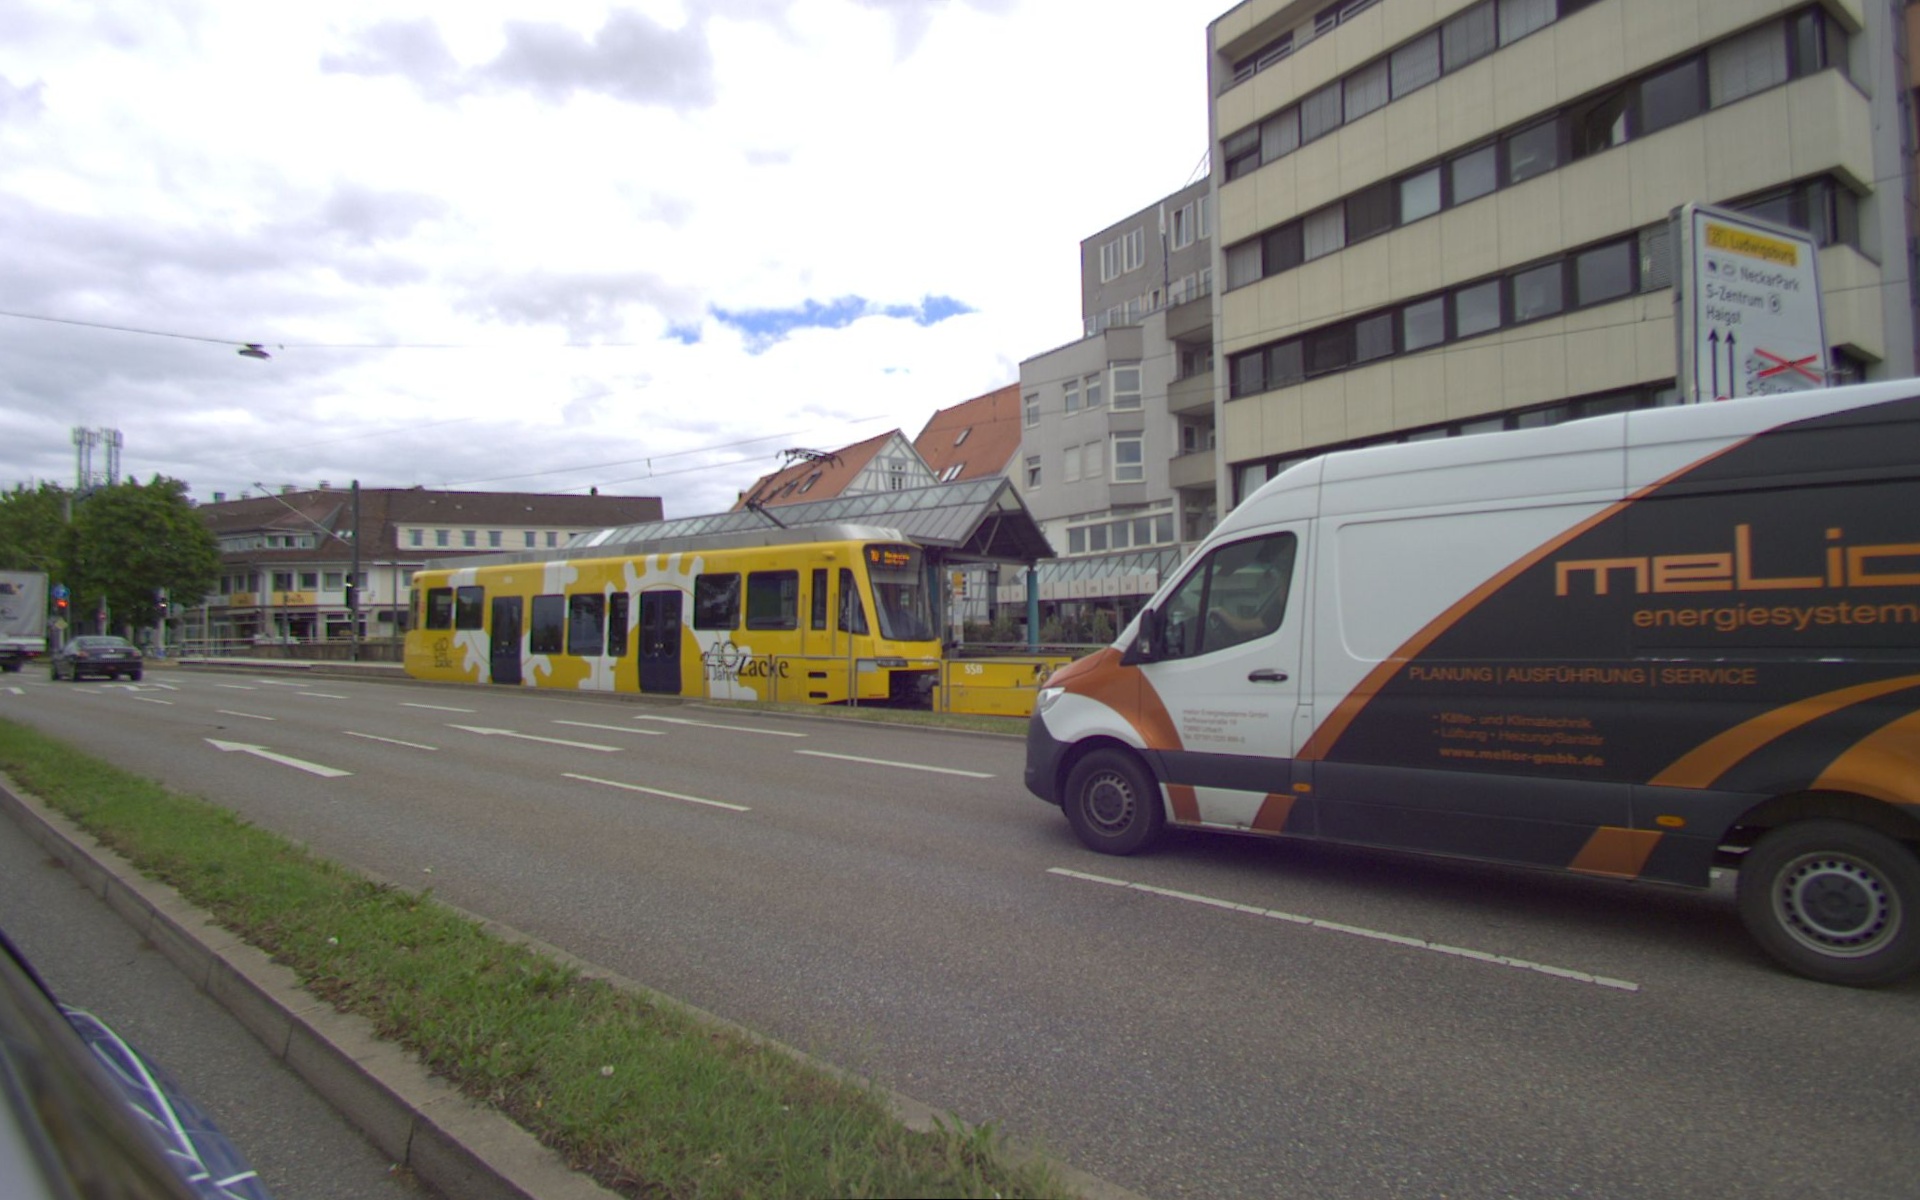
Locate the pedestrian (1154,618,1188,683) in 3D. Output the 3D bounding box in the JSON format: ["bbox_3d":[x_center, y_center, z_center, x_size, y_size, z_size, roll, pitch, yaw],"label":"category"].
[{"bbox_3d":[5.703,1.356,27.356,0.628,1.713,0.684,-2,-2,39],"label":"pedestrian"}]

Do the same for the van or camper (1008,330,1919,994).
[{"bbox_3d":[3.276,0.308,5.775,6.114,2.618,1.972,-2,-4,42],"label":"van or camper"}]

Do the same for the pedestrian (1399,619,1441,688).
[{"bbox_3d":[11.639,1.344,25.624,0.610,1.713,0.743,1,-2,-38],"label":"pedestrian"}]

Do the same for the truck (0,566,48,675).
[{"bbox_3d":[-39.109,0.880,39.953,9.148,3.988,2.911,-2,-2,37],"label":"truck"}]

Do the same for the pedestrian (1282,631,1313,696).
[{"bbox_3d":[9.010,1.675,27.010,0.628,1.713,0.543,-2,-2,39],"label":"pedestrian"}]

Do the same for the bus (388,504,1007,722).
[{"bbox_3d":[-7.875,0.473,25.371,19.307,3.889,3.841,-2,-2,37],"label":"bus"}]

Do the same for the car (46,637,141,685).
[{"bbox_3d":[-26.238,1.812,30.606,3.945,1.355,1.490,-2,-4,40],"label":"car"}]

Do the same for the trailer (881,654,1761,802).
[{"bbox_3d":[4.283,1.584,15.280,12.104,1.343,2.815,-2,-2,37],"label":"trailer"}]
